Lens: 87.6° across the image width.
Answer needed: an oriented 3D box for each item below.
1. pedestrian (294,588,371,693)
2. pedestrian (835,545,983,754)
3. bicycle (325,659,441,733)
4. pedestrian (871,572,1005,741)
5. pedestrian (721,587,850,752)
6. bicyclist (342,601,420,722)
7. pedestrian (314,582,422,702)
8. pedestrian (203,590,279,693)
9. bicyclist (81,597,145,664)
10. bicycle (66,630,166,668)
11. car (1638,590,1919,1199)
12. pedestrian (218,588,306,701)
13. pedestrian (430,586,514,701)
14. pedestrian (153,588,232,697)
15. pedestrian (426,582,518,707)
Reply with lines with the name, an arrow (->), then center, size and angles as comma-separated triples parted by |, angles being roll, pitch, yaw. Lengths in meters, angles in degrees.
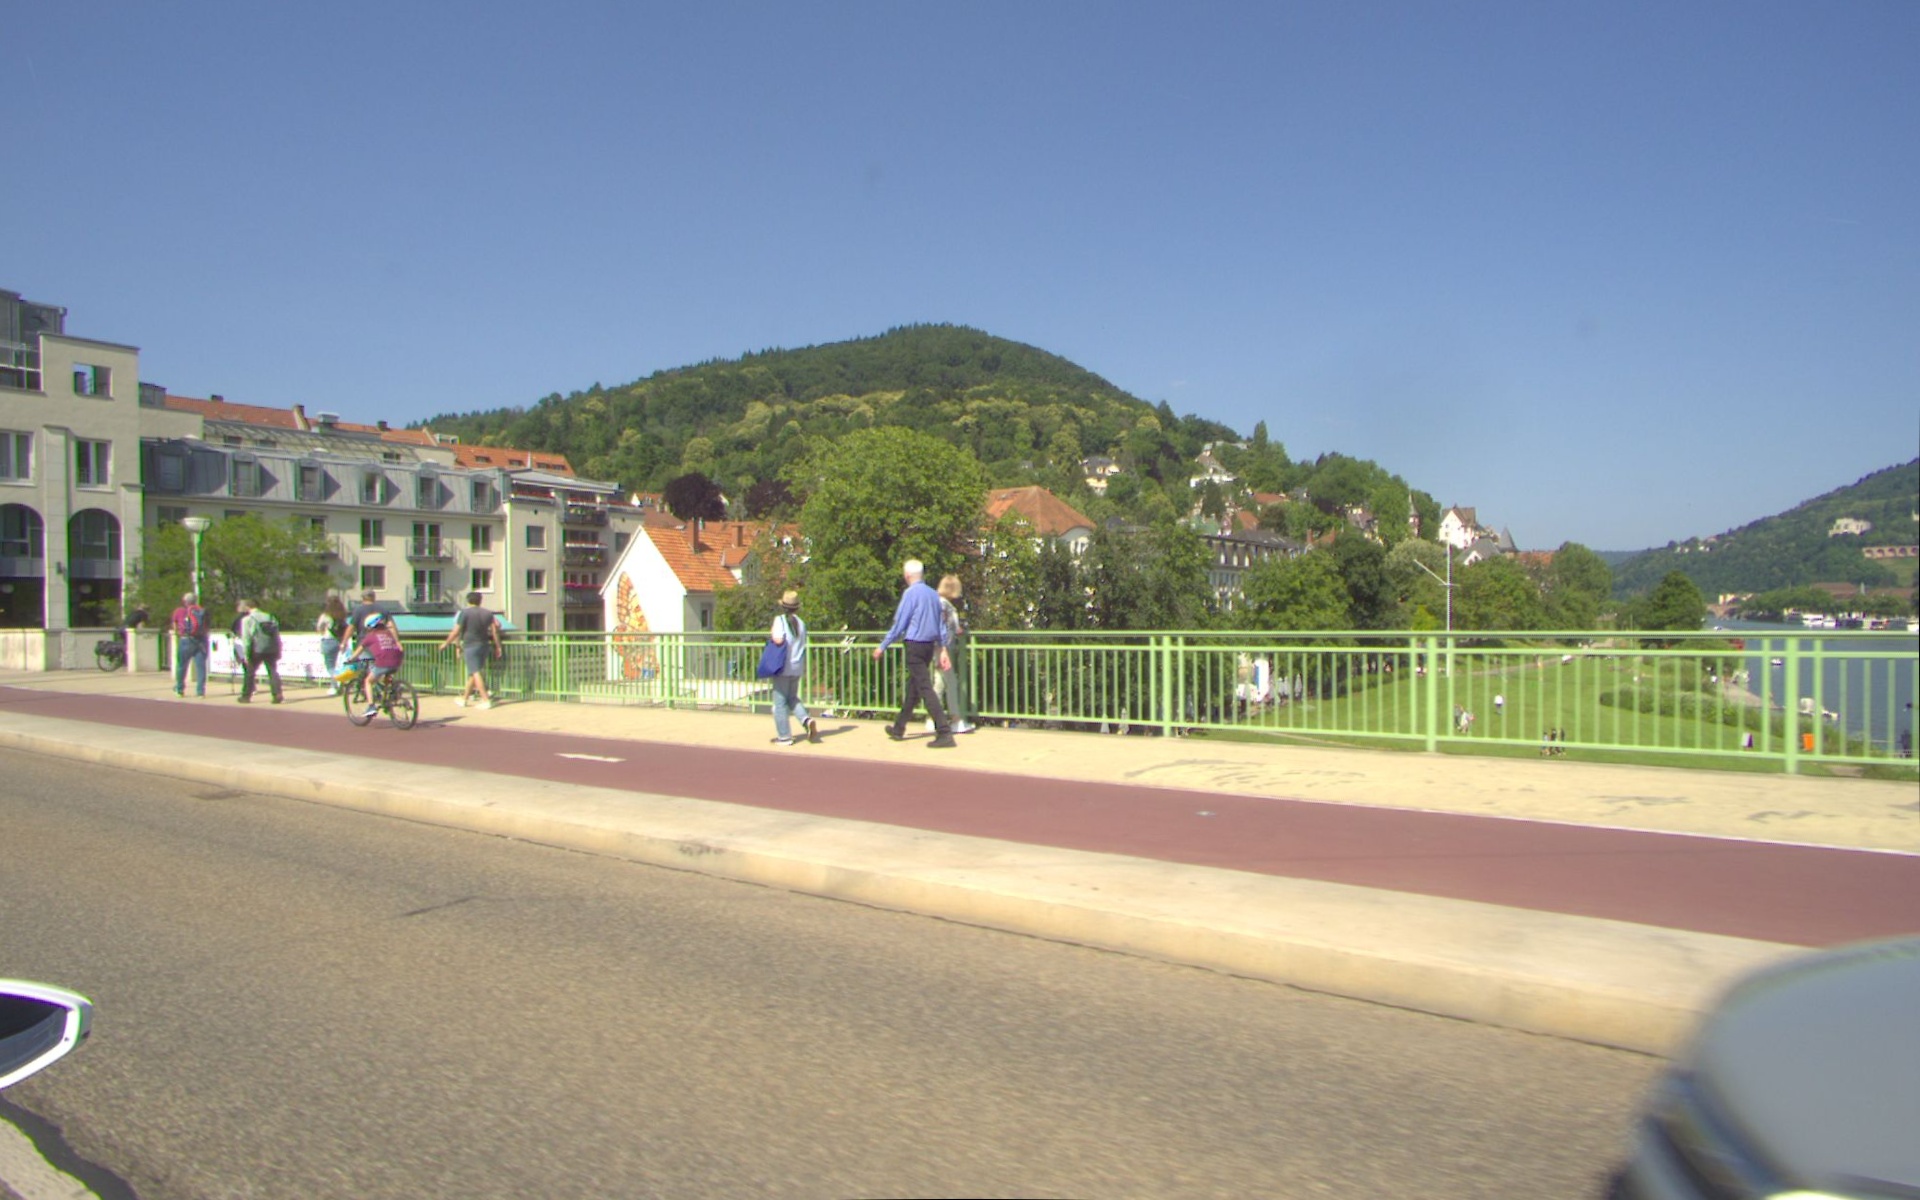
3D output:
pedestrian -> -10.954, 0.693, 17.481 | 1.001, 1.770, 0.737 | 0, 2, 32
pedestrian -> -0.496, 0.461, 9.903 | 1.121, 1.923, 0.924 | 0, 1, 32
bicycle -> -6.995, 1.137, 12.116 | 1.637, 0.776, 0.512 | -1, 1, 33
pedestrian -> -0.226, 0.562, 10.684 | 1.067, 1.685, 0.945 | 0, 2, 32
pedestrian -> -1.735, 0.654, 10.001 | 0.920, 1.550, 0.827 | 0, 2, 32
bicyclist -> -6.989, 0.718, 12.093 | 0.659, 1.402, 0.532 | 0, 2, 33
pedestrian -> -9.299, 0.631, 15.735 | 1.190, 1.801, 0.975 | 0, 2, 32
pedestrian -> -13.006, 0.731, 18.110 | 1.001, 1.801, 0.737 | 0, 2, 32
bicyclist -> -22.142, 0.781, 26.189 | 1.126, 1.718, 0.920 | -1, 1, 29
bicycle -> -22.094, 1.257, 26.253 | 0.788, 0.894, 1.820 | -1, 0, 29
car -> 3.139, 0.730, 0.760 | 4.264, 1.484, 1.703 | -1, -2, 32
pedestrian -> -11.239, 0.696, 16.127 | 1.058, 1.741, 0.752 | 0, 2, 32
pedestrian -> -7.650, 0.663, 15.711 | 1.001, 1.741, 0.737 | 0, 1, 32
pedestrian -> -13.341, 0.713, 17.415 | 1.001, 1.826, 0.737 | 0, 2, 32
pedestrian -> -7.091, 0.630, 14.557 | 1.001, 1.741, 0.737 | 0, 2, 32
